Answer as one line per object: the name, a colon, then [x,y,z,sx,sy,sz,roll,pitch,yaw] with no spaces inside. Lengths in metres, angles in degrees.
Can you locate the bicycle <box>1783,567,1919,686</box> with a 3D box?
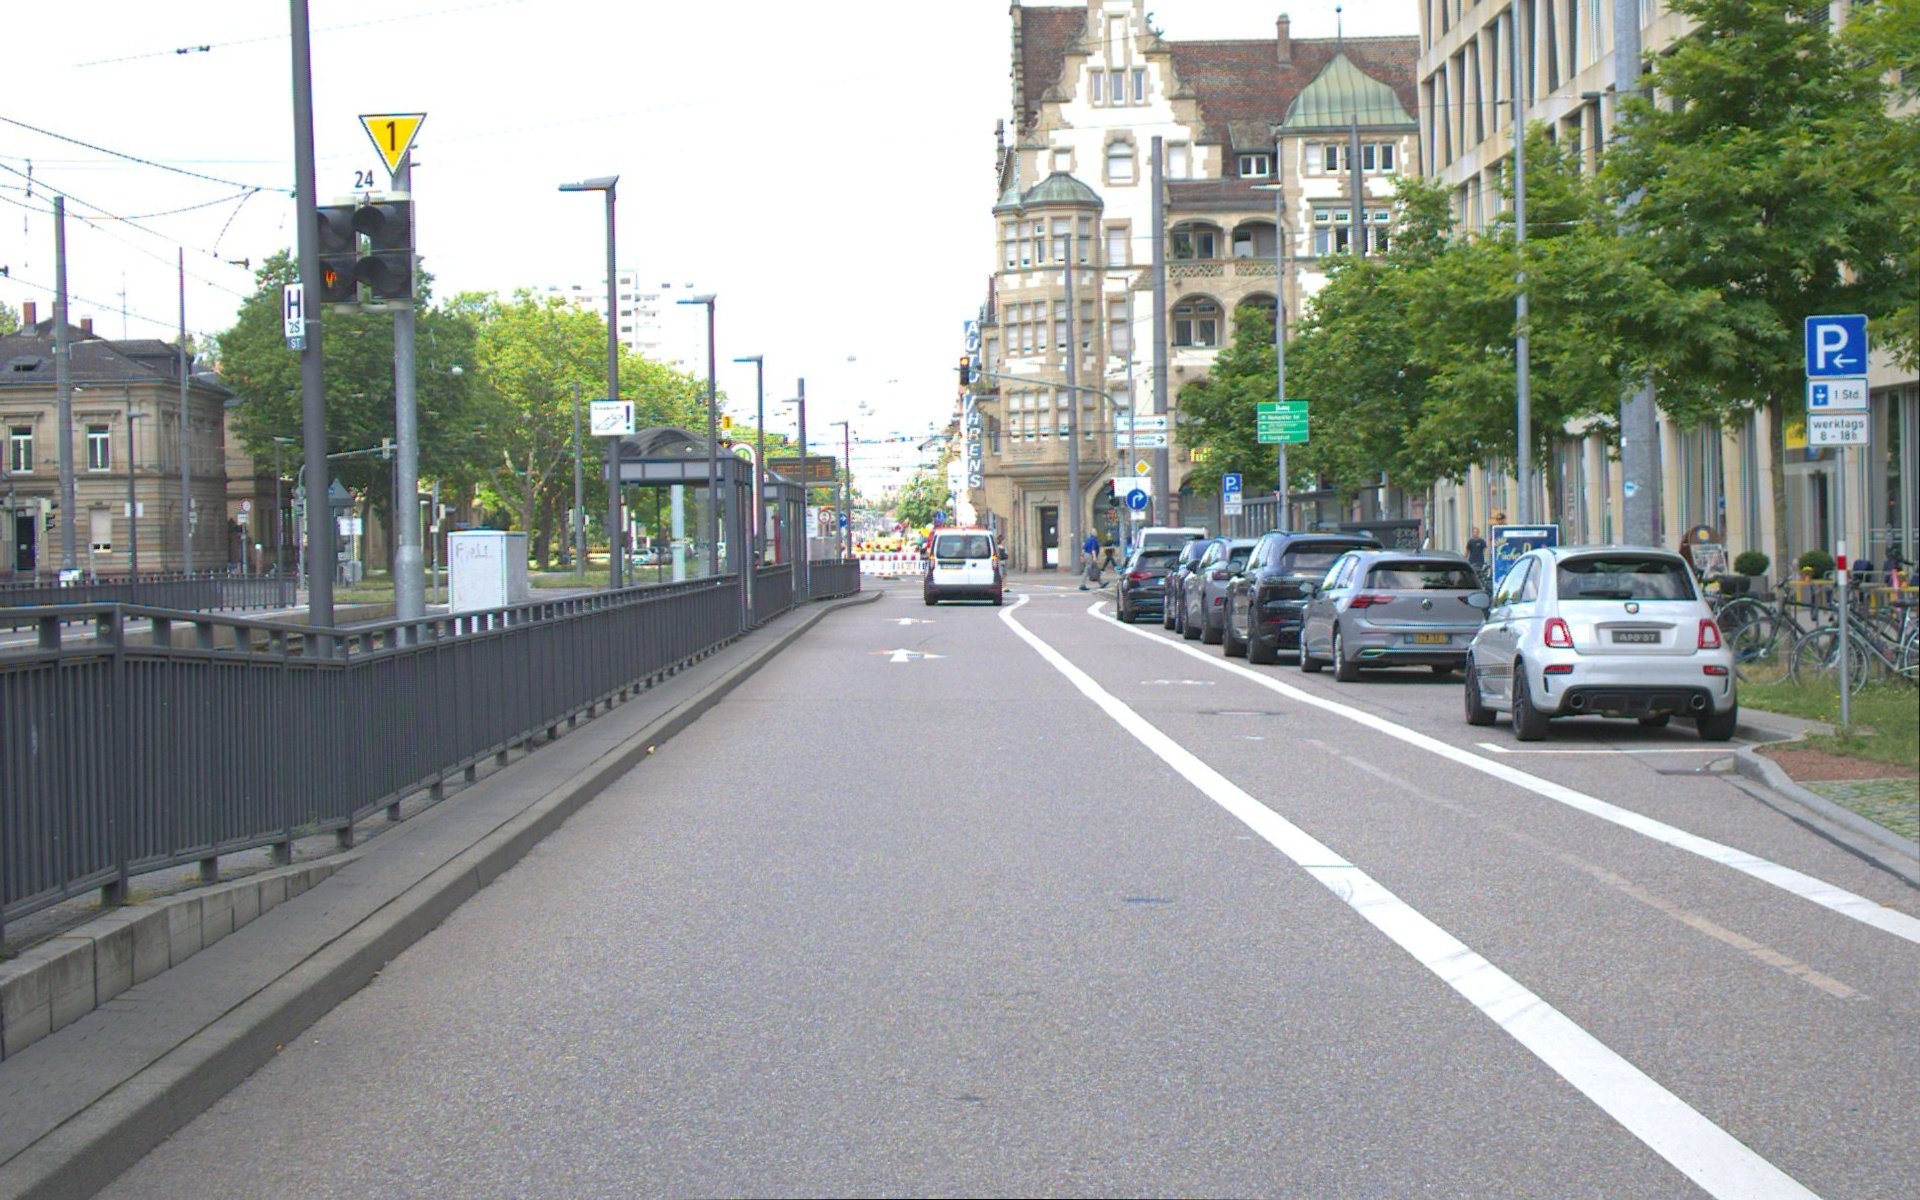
bicycle: [8.629,0.240,32.027,1.824,1.072,0.275,-1,1,4]

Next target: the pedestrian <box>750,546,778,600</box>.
pedestrian: [-4.184,-0.578,73.280,0.513,1.136,0.501,-3,1,0]

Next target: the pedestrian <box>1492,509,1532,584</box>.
pedestrian: [12.478,-1.212,77.706,0.760,1.664,0.659,-1,1,-1]

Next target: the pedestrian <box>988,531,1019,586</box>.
pedestrian: [1.260,-1.201,100.143,0.805,1.567,0.629,-3,1,-2]

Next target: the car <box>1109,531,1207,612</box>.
car: [3.727,-0.561,65.198,1.443,1.465,4.093,0,1,-2]

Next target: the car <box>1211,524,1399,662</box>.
car: [4.391,-0.134,44.391,1.738,1.664,4.841,0,1,-2]

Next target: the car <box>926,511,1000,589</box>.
car: [0.066,-1.317,90.133,1.868,2.013,4.000,0,1,-1]

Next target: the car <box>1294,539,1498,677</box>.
car: [4.820,0.049,38.493,1.591,1.429,4.108,0,1,-2]

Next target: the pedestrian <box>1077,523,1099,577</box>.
pedestrian: [3.782,-1.489,101.828,0.534,1.567,0.542,-3,1,-2]

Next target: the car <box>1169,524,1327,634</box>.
car: [4.340,-0.356,52.462,1.807,1.586,4.841,0,1,-2]

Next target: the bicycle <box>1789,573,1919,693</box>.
bicycle: [8.614,0.296,31.725,1.824,1.072,0.275,-1,1,4]

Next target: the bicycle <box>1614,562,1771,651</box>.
bicycle: [8.625,0.078,40.515,1.752,0.983,0.326,-2,1,-1]

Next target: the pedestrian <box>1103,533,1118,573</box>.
pedestrian: [6.060,-1.898,138.631,0.486,1.604,0.362,-3,1,-1]

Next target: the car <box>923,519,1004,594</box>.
car: [0.050,-1.063,82.543,1.868,1.740,4.000,0,1,-1]

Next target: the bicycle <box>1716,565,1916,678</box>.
bicycle: [8.536,0.211,34.323,1.824,1.072,0.686,-1,1,4]

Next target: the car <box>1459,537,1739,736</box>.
car: [4.996,0.238,27.277,1.591,1.455,3.613,0,1,1]

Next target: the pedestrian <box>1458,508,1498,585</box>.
pedestrian: [11.707,-1.219,77.695,0.760,1.717,0.659,-1,1,-1]

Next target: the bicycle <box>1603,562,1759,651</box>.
bicycle: [8.571,0.074,40.874,1.752,0.983,0.326,-2,1,-1]

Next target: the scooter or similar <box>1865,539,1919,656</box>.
scooter or similar: [9.877,-0.033,36.447,0.258,1.211,1.015,-1,1,-1]

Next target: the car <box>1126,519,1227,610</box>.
car: [4.393,-0.747,70.168,1.709,1.790,3.362,0,1,-2]

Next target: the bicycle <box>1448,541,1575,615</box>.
bicycle: [8.485,-0.339,52.905,1.839,1.027,0.340,-3,1,-1]

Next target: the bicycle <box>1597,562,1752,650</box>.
bicycle: [8.564,0.068,41.222,1.752,0.983,0.326,-2,1,-1]

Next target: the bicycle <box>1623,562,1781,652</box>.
bicycle: [8.666,0.082,40.173,1.752,0.983,0.326,-2,1,-1]
